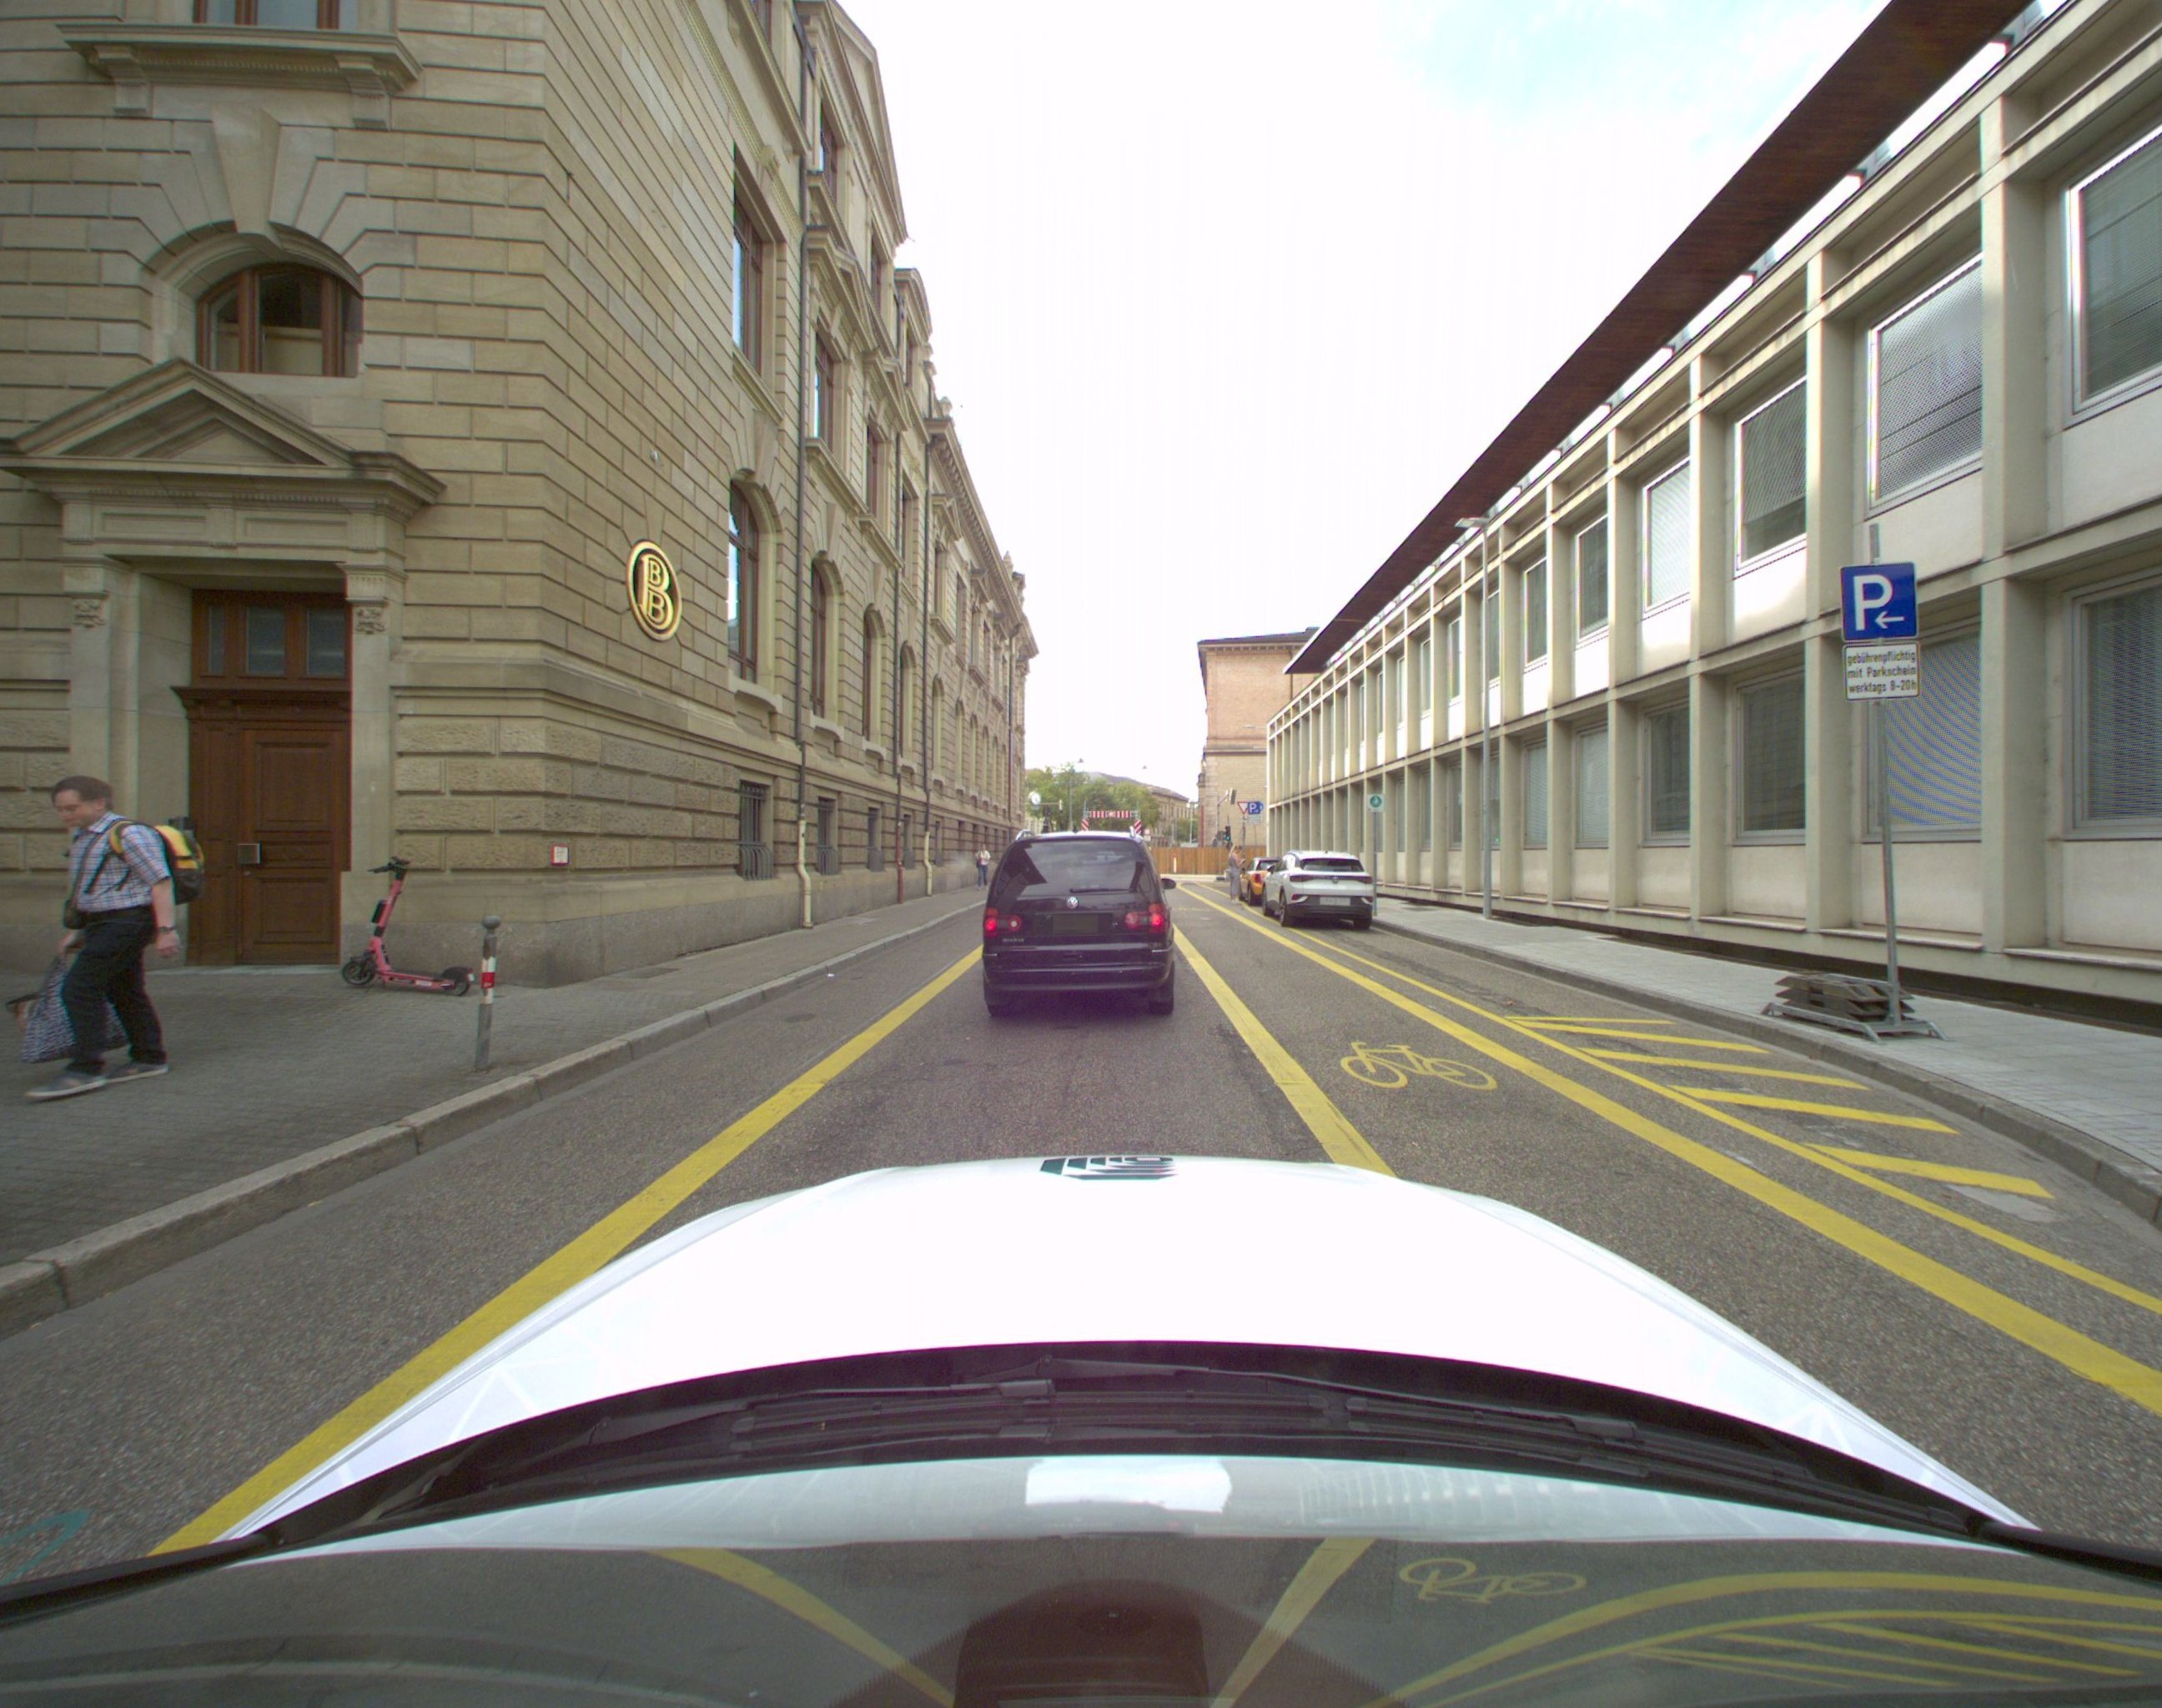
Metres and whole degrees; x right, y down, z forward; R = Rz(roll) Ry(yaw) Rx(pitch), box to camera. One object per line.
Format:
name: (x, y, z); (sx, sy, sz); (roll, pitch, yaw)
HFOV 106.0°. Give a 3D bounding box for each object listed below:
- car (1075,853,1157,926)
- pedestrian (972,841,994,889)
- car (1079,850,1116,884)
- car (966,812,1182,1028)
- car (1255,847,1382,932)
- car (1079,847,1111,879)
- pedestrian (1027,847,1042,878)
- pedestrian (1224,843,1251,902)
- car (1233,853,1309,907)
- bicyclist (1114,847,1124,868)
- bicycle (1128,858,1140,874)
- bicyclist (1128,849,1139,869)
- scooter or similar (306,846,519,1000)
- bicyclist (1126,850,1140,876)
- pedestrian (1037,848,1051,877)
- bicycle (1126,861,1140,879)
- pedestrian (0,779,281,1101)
car: (0.876, 0.730, 18.539); (1.670, 1.469, 4.108); (0, 0, 5)
pedestrian: (-3.821, 0.437, 31.905); (0.661, 1.819, 1.048); (2, -1, 2)
car: (0.844, 0.643, 40.403); (1.766, 1.586, 4.001); (0, -1, 2)
car: (0.104, 0.576, 8.907); (1.781, 1.790, 4.108); (-1, -1, 5)
car: (5.234, 0.713, 18.530); (1.851, 1.605, 4.518); (3, 0, 5)
car: (0.796, 0.530, 47.421); (1.729, 1.790, 4.101); (0, 0, -1)
pedestrian: (-2.807, 0.521, 49.449); (0.789, 1.819, 1.048); (2, -1, 2)
pedestrian: (4.733, 0.568, 24.713); (0.695, 1.764, 0.706); (0, -1, 3)
car: (5.772, 0.747, 25.129); (1.672, 1.435, 3.891); (3, 0, 5)
bicyclist: (2.742, 0.258, 59.304); (0.732, 1.555, 0.896); (0, -1, 1)
bicycle: (3.581, 0.814, 55.420); (0.732, 1.009, 2.069); (0, -1, 2)
bicyclist: (3.580, 0.341, 55.409); (0.732, 1.375, 0.832); (0, -1, 1)
scooter or similar: (-6.180, 0.615, 7.574); (1.441, 1.310, 0.587); (3, 1, 0)
bicyclist: (2.963, 0.523, 46.454); (0.732, 1.478, 0.885); (0, -1, 1)
pedestrian: (-2.391, 0.528, 52.386); (0.789, 1.819, 1.048); (2, -1, 2)
bicycle: (2.966, 0.894, 46.492); (0.732, 1.009, 2.069); (0, -1, 2)
pedestrian: (-5.686, 0.459, 4.815); (1.022, 1.720, 0.819); (2, -1, 1)
